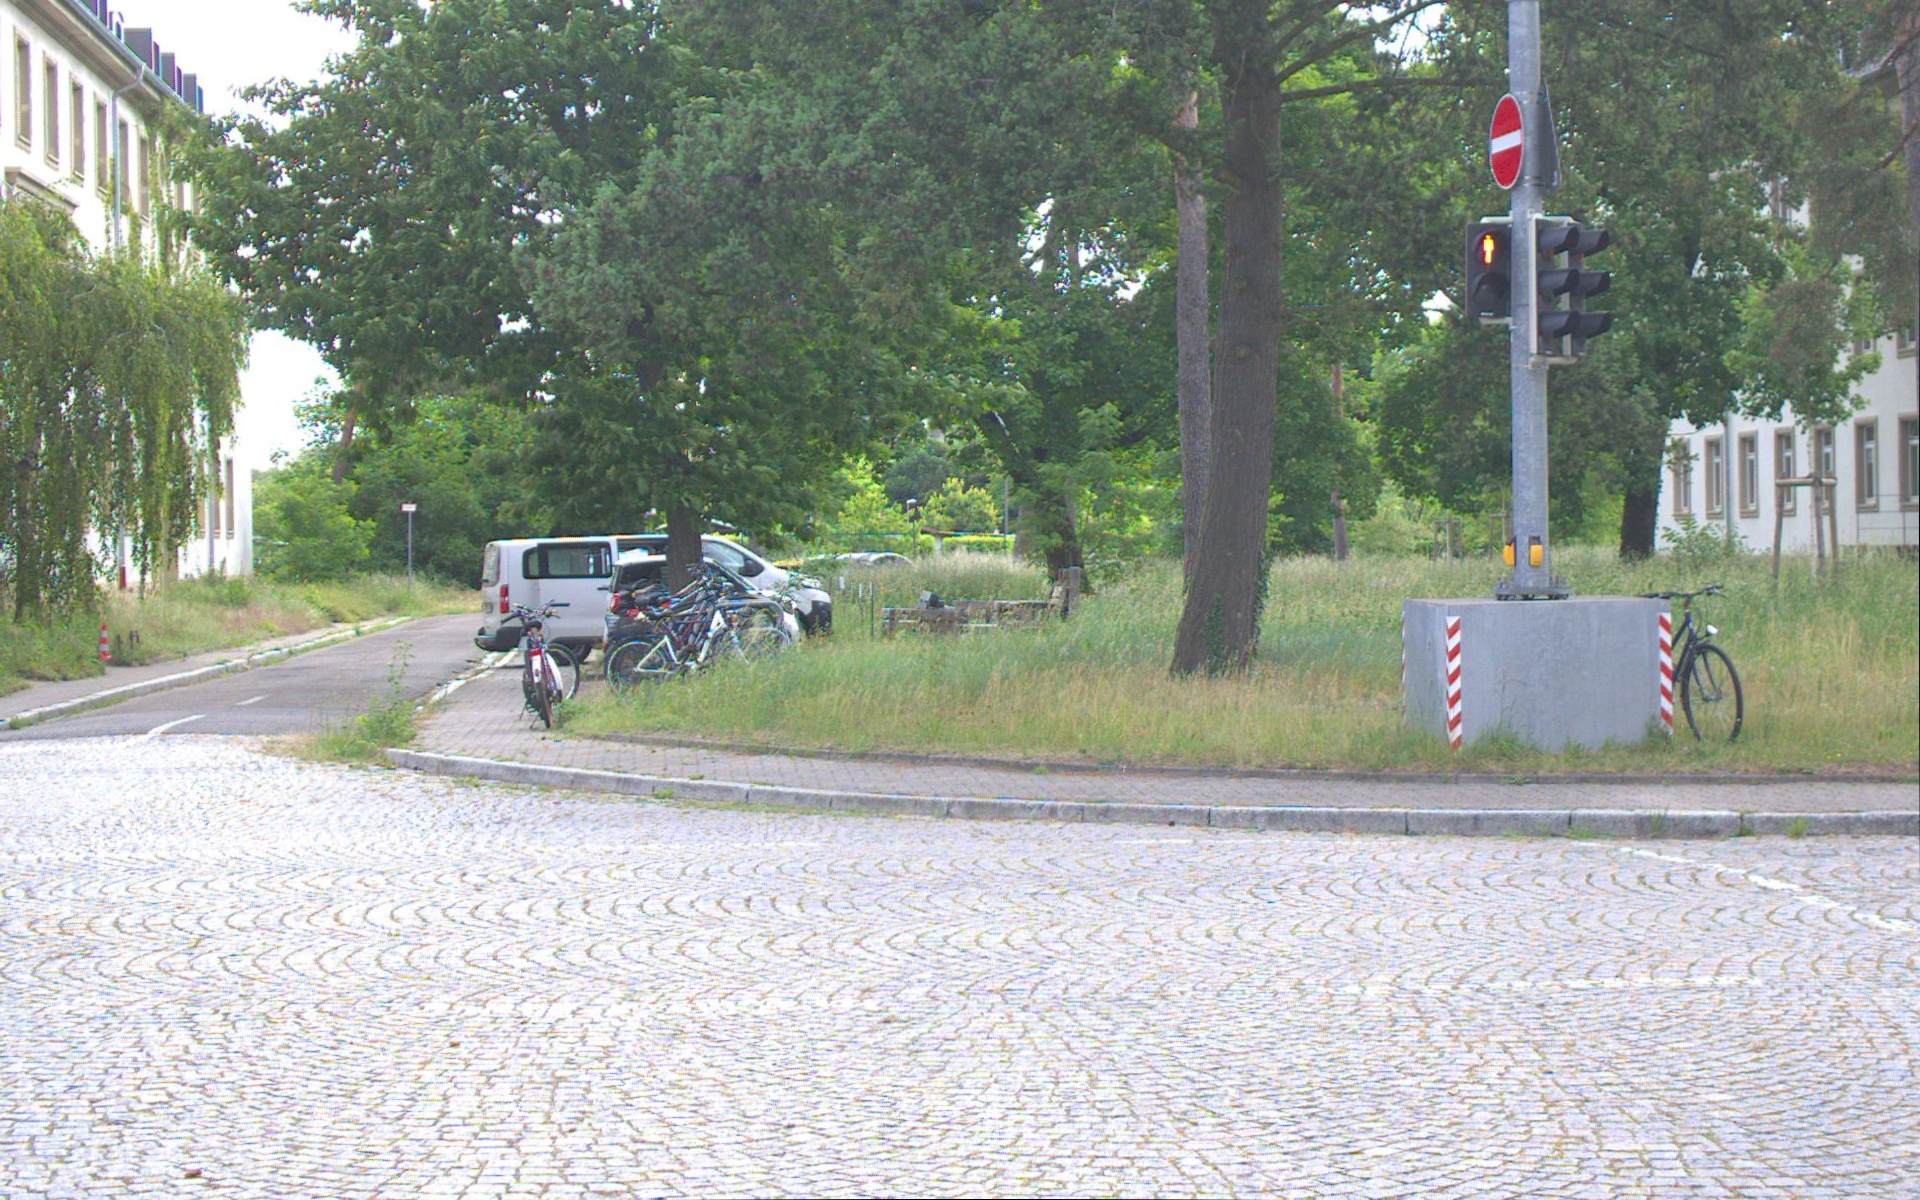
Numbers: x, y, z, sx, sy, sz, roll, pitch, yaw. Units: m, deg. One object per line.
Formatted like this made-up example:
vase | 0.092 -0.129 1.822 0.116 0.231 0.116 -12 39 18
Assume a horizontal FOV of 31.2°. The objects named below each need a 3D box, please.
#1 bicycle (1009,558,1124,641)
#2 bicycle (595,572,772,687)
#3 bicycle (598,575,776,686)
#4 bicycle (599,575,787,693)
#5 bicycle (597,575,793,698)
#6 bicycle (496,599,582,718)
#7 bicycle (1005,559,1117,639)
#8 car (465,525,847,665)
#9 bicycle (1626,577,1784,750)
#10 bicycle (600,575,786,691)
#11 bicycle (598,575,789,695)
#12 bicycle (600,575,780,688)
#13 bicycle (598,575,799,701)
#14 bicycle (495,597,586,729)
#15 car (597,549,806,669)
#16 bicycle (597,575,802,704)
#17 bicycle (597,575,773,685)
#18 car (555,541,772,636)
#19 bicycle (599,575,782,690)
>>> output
bicycle | 1.475 -0.006 47.613 1.549 1.121 0.401 -1 1 -3
bicycle | -3.218 0.332 39.987 1.982 1.243 0.624 -2 1 -6
bicycle | -3.090 0.341 38.840 1.982 1.243 0.624 0 0 -6
bicycle | -2.861 0.357 36.734 1.982 1.243 0.624 0 0 -6
bicycle | -2.722 0.369 35.248 1.982 1.243 0.624 0 0 -6
bicycle | -3.929 0.533 32.170 0.622 1.079 1.678 0 0 -1
bicycle | 1.434 -0.019 48.845 1.549 1.121 0.401 -1 1 -3
car | -4.578 -0.099 51.699 5.303 1.909 2.150 -2 1 -19
bicycle | 4.704 0.382 21.798 0.580 0.967 1.678 -3 3 -1
bicycle | -2.896 0.353 37.258 1.982 1.243 0.624 0 0 -6
bicycle | -2.806 0.362 36.103 1.982 1.243 0.624 0 0 -6
bicycle | -3.017 0.345 38.331 1.982 1.243 0.624 0 0 -6
bicycle | -2.618 0.376 34.326 1.982 1.243 0.624 0 0 -6
bicycle | -3.674 0.532 30.229 0.622 1.110 1.989 0 0 -2
car | -3.641 0.107 48.286 2.847 1.552 1.472 -1 2 -5
bicycle | -2.558 0.381 33.700 1.982 1.243 0.624 0 0 -6
bicycle | -3.154 0.337 39.330 1.982 1.243 0.624 0 0 -6
car | -5.657 -0.232 65.547 4.031 1.712 1.681 -1 0 -6
bicycle | -2.962 0.350 37.682 1.982 1.243 0.624 0 0 -6
